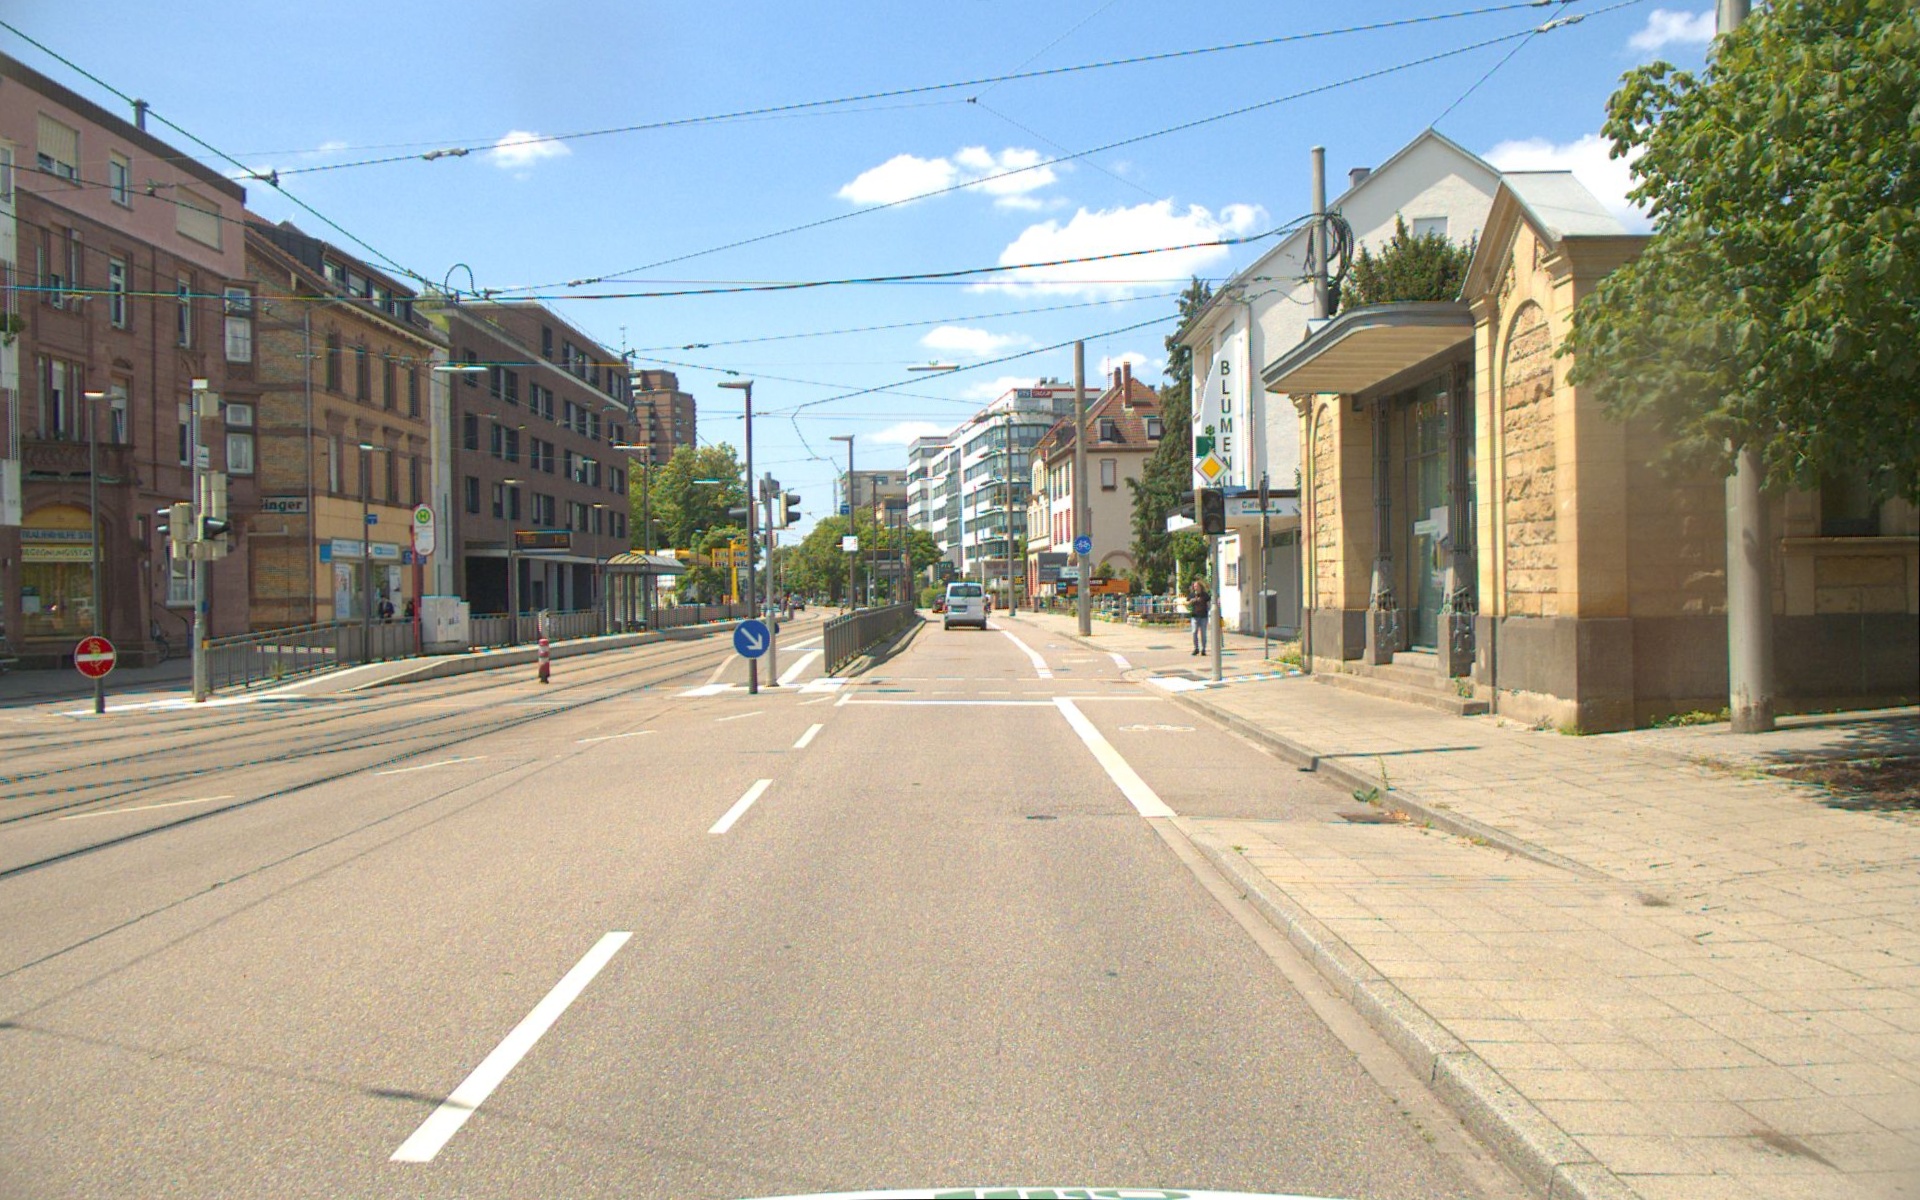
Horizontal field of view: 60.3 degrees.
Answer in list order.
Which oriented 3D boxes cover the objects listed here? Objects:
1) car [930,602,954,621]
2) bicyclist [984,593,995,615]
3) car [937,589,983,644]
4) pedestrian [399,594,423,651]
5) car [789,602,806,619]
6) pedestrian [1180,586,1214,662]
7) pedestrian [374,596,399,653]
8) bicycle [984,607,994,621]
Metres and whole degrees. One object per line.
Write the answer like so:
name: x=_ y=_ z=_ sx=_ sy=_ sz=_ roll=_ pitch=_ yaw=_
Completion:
car: x=-1.674 y=1.049 z=154.936 sx=1.827 sy=1.716 sz=4.994 roll=-2 pitch=0 yaw=-5
bicyclist: x=1.889 y=0.256 z=106.614 sx=0.579 sy=1.421 sz=0.841 roll=-1 pitch=0 yaw=-5
car: x=-0.022 y=0.636 z=66.591 sx=1.717 sy=2.048 sz=3.999 roll=-2 pitch=1 yaw=-1
pedestrian: x=-19.967 y=0.816 z=60.171 sx=0.663 sy=2.049 sz=0.684 roll=0 pitch=-1 yaw=-2
car: x=-18.529 y=1.213 z=188.086 sx=1.667 sy=1.644 sz=3.751 roll=-4 pitch=-2 yaw=-8
pedestrian: x=5.079 y=0.508 z=35.462 sx=0.565 sy=1.583 sz=0.786 roll=-3 pitch=-1 yaw=3
pedestrian: x=-20.788 y=0.876 z=59.978 sx=0.605 sy=2.049 sz=0.810 roll=-1 pitch=0 yaw=-2
bicycle: x=1.870 y=0.884 z=106.623 sx=0.456 sy=0.903 sz=2.046 roll=-1 pitch=0 yaw=-5
